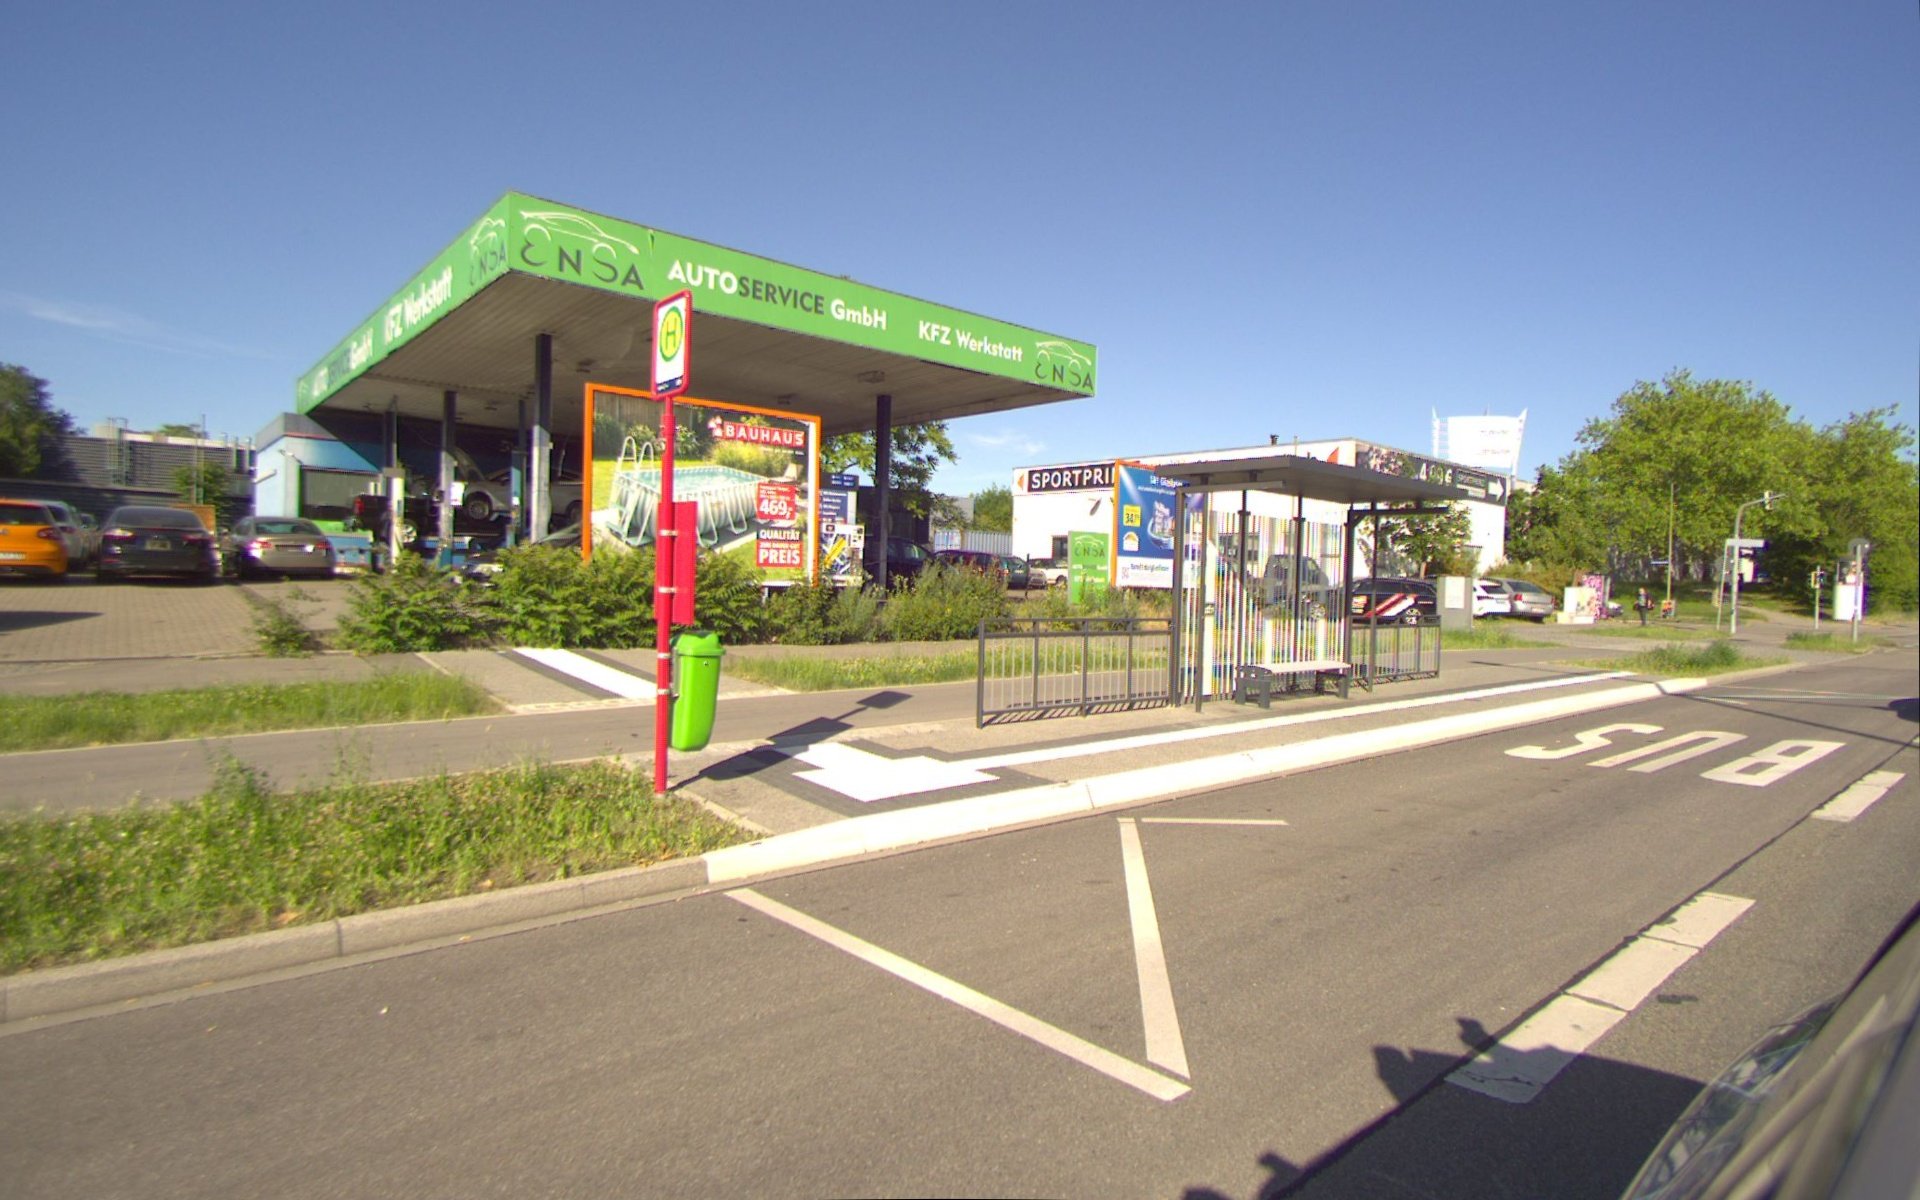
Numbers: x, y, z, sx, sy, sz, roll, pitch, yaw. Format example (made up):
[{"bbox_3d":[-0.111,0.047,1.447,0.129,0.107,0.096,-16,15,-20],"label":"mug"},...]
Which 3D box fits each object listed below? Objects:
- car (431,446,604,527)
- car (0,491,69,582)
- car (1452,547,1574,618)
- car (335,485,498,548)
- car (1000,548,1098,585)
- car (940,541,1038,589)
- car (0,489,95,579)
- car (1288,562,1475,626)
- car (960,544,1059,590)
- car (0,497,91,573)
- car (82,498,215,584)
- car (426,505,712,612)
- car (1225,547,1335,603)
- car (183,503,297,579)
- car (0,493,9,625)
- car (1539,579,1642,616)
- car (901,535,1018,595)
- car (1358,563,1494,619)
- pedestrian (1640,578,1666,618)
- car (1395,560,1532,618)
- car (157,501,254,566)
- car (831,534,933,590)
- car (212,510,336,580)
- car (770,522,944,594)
[{"bbox_3d":[-11.353,-2.844,26.056,3.711,1.776,1.923,0,3,-40],"label":"car"},{"bbox_3d":[-17.596,-1.170,18.586,1.670,1.535,3.991,-1,3,-44],"label":"car"},{"bbox_3d":[20.418,-0.706,37.592,1.652,2.035,4.013,5,7,-9],"label":"car"},{"bbox_3d":[-14.591,-2.190,27.230,3.563,1.495,1.923,0,3,-40],"label":"car"},{"bbox_3d":[4.016,-1.550,46.124,1.959,1.425,4.213,0,4,-41],"label":"car"},{"bbox_3d":[1.147,-1.518,42.186,1.637,1.617,4.214,-3,8,-41],"label":"car"},{"bbox_3d":[-20.717,-1.391,22.578,1.967,1.805,3.991,0,1,-43],"label":"car"},{"bbox_3d":[12.682,-0.220,30.674,4.748,1.549,1.900,3,3,3],"label":"car"},{"bbox_3d":[2.155,-1.504,44.671,1.960,1.537,4.215,-3,9,-41],"label":"car"},{"bbox_3d":[-24.344,-1.634,26.714,1.967,1.805,3.991,0,1,-43],"label":"car"},{"bbox_3d":[-16.150,-1.165,20.076,1.707,1.535,3.991,-1,3,-44],"label":"car"},{"bbox_3d":[-6.538,-0.637,17.149,4.173,1.592,1.748,0,1,-40],"label":"car"},{"bbox_3d":[11.546,-0.911,36.379,4.519,1.804,1.686,-1,6,-43],"label":"car"},{"bbox_3d":[-19.092,-1.489,26.772,1.967,1.805,3.991,0,1,-43],"label":"car"},{"bbox_3d":[-12.484,-0.389,10.419,1.764,1.659,4.572,2,4,-11],"label":"car"},{"bbox_3d":[36.172,-0.200,58.178,1.839,1.958,4.691,0,2,-39],"label":"car"},{"bbox_3d":[-0.076,-1.212,33.706,1.817,1.565,3.775,-3,9,-41],"label":"car"},{"bbox_3d":[15.529,-0.329,33.855,1.808,1.304,3.620,-1,9,-39],"label":"car"},{"bbox_3d":[30.125,-0.091,43.998,0.607,1.737,0.759,0,2,-41],"label":"pedestrian"},{"bbox_3d":[17.793,-0.426,35.948,1.690,1.468,3.943,1,8,-29],"label":"car"},{"bbox_3d":[-23.899,-2.038,31.980,1.967,1.805,4.514,0,1,-43],"label":"car"},{"bbox_3d":[-2.890,-1.347,36.974,1.890,1.931,3.698,0,1,-40],"label":"car"},{"bbox_3d":[-15.616,-1.251,22.954,1.684,1.434,3.991,-1,3,-44],"label":"car"},{"bbox_3d":[-2.543,-0.987,25.382,3.930,1.668,1.997,0,1,-41],"label":"car"}]
